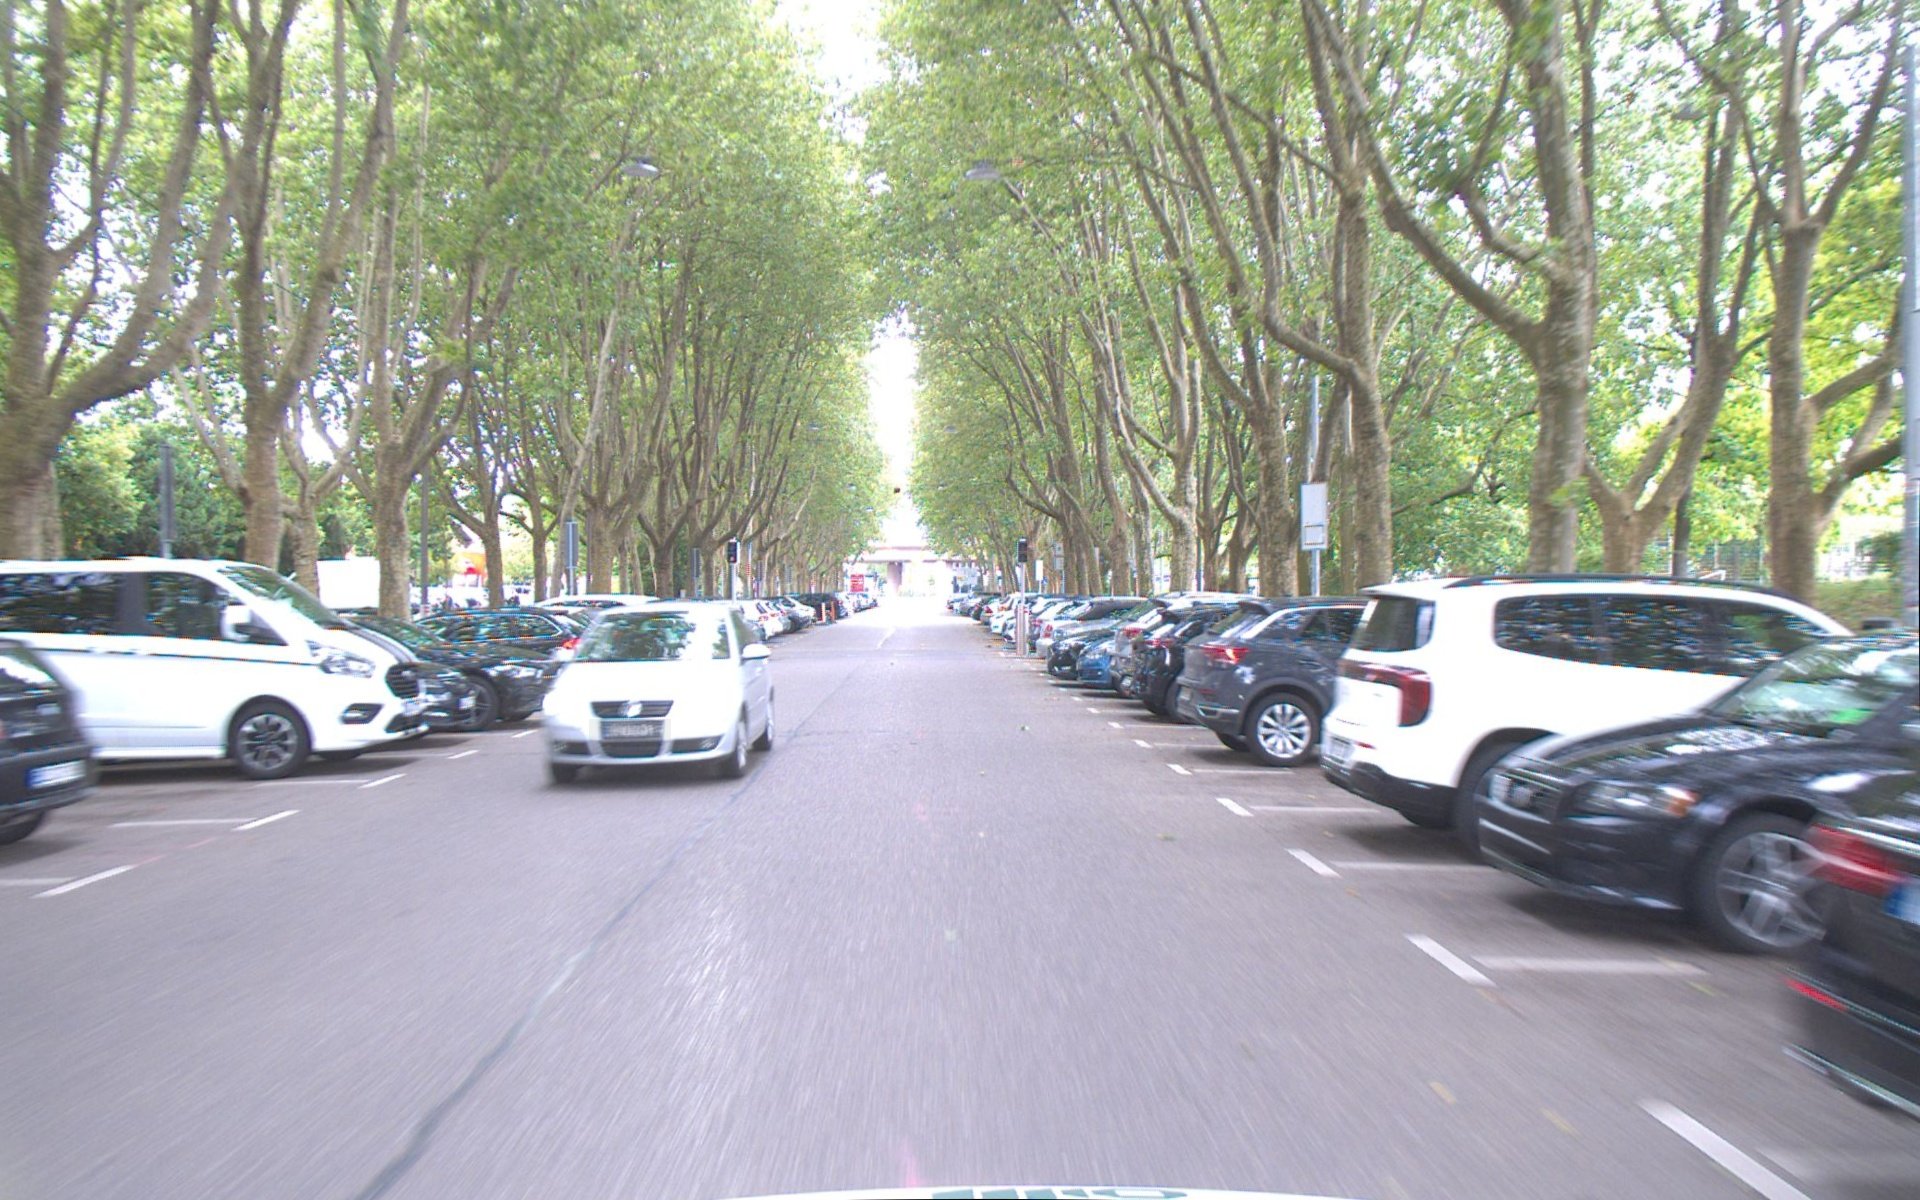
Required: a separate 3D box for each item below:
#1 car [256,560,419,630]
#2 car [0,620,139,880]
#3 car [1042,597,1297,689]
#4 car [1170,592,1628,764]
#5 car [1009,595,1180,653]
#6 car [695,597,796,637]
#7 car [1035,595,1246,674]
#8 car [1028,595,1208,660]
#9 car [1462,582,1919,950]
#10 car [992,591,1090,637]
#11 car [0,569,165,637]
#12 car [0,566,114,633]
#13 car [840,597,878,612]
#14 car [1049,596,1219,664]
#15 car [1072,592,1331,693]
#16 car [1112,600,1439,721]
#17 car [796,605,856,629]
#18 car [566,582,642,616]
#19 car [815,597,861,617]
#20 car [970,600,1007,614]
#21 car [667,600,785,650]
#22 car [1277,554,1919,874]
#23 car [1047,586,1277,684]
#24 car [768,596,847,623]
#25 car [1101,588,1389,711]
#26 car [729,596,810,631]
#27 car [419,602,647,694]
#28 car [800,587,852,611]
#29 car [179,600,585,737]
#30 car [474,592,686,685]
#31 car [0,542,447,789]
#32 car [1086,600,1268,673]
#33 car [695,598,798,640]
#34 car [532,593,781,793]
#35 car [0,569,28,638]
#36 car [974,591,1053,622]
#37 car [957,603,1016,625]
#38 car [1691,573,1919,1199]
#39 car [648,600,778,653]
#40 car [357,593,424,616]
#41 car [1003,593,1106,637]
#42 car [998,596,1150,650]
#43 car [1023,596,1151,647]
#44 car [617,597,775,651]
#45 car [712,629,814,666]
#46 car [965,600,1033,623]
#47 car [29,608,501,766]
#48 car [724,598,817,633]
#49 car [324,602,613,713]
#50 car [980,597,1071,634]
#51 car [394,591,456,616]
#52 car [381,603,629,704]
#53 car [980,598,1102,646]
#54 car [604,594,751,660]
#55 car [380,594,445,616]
[{"bbox_3d":[-24.663,-0.197,65.698,5.668,2.642,2.000,1,0,-1],"label":"car"},{"bbox_3d":[-7.405,0.949,10.058,3.908,1.438,1.682,-3,0,-4],"label":"car"},{"bbox_3d":[3.542,0.713,28.406,4.127,1.476,1.609,1,0,-3],"label":"car"},{"bbox_3d":[4.102,0.707,15.837,3.907,1.512,1.693,1,0,-3],"label":"car"},{"bbox_3d":[3.660,0.655,45.496,4.521,1.495,1.649,1,0,-2],"label":"car"},{"bbox_3d":[-8.709,0.687,67.486,3.942,1.455,1.693,-2,0,-5],"label":"car"},{"bbox_3d":[3.601,0.682,33.472,4.030,1.495,1.694,1,0,-2],"label":"car"},{"bbox_3d":[3.881,0.668,41.032,4.278,1.495,1.623,1,0,-2],"label":"car"},{"bbox_3d":[4.782,0.742,8.108,4.102,1.584,1.699,1,0,-3],"label":"car"},{"bbox_3d":[3.081,0.530,63.387,3.574,1.696,1.517,1,0,-5],"label":"car"},{"bbox_3d":[-34.949,0.120,65.484,5.880,2.571,1.999,1,0,-2],"label":"car"},{"bbox_3d":[-34.507,-0.055,60.602,5.880,2.370,1.999,1,0,-2],"label":"car"},{"bbox_3d":[-10.481,0.500,171.957,3.735,1.542,1.686,0,0,2],"label":"car"},{"bbox_3d":[3.973,0.680,38.195,3.699,1.495,1.666,1,0,-2],"label":"car"},{"bbox_3d":[3.725,0.646,25.892,3.750,1.481,1.693,1,0,-3],"label":"car"},{"bbox_3d":[3.910,0.737,20.870,3.750,1.413,1.693,1,0,-3],"label":"car"},{"bbox_3d":[-8.929,1.130,110.283,3.734,1.377,1.663,-2,0,4],"label":"car"},{"bbox_3d":[-24.742,-0.076,115.099,4.976,2.271,1.535,1,0,-3],"label":"car"},{"bbox_3d":[-10.530,0.595,142.687,3.734,1.542,1.687,-2,0,4],"label":"car"},{"bbox_3d":[3.333,0.796,191.958,4.287,1.549,1.731,1,0,-1],"label":"car"},{"bbox_3d":[-7.806,0.820,55.405,3.752,1.523,1.693,-2,0,-4],"label":"car"},{"bbox_3d":[4.342,0.670,10.401,4.297,1.786,1.800,1,0,-3],"label":"car"},{"bbox_3d":[3.707,0.634,30.794,4.030,1.699,1.694,1,0,-1],"label":"car"},{"bbox_3d":[-9.190,0.572,99.952,4.572,1.452,1.999,-2,0,-3],"label":"car"},{"bbox_3d":[3.999,0.678,23.544,3.750,1.635,1.693,1,0,-3],"label":"car"},{"bbox_3d":[-9.218,0.655,80.262,3.752,1.582,1.693,-2,0,-4],"label":"car"},{"bbox_3d":[-7.732,0.846,30.218,3.752,1.497,1.693,-2,0,-4],"label":"car"},{"bbox_3d":[-10.277,-0.067,126.868,3.734,1.630,1.787,-2,0,4],"label":"car"},{"bbox_3d":[-7.066,0.816,20.504,4.355,1.478,1.775,-2,0,3],"label":"car"},{"bbox_3d":[-7.419,0.737,32.606,3.752,1.656,1.951,-2,0,-4],"label":"car"},{"bbox_3d":[-7.504,0.592,15.427,4.795,2.054,1.919,-2,0,-2],"label":"car"},{"bbox_3d":[4.650,0.775,35.793,3.698,1.495,1.624,1,0,0],"label":"car"},{"bbox_3d":[-8.092,0.730,63.029,3.752,1.455,1.693,-2,0,-4],"label":"car"},{"bbox_3d":[-2.557,0.708,14.759,1.655,1.497,3.837,-2,0,-3],"label":"car"},{"bbox_3d":[-35.009,0.065,55.793,5.880,2.279,1.999,1,0,-2],"label":"car"},{"bbox_3d":[2.673,0.332,83.233,3.840,1.477,1.555,1,0,-3],"label":"car"},{"bbox_3d":[1.879,0.991,117.473,4.088,1.467,1.732,1,0,3],"label":"car"},{"bbox_3d":[4.240,0.759,3.774,4.412,1.552,1.702,1,0,-3],"label":"car"},{"bbox_3d":[-7.456,0.780,50.232,3.752,1.455,1.693,-2,0,-4],"label":"car"},{"bbox_3d":[-35.693,0.292,103.707,3.680,1.373,1.535,1,0,-3],"label":"car"},{"bbox_3d":[3.473,0.555,61.150,3.574,1.546,1.642,1,0,-5],"label":"car"},{"bbox_3d":[3.291,0.658,48.167,4.213,1.495,1.622,1,0,-5],"label":"car"},{"bbox_3d":[3.892,0.659,50.973,3.702,1.495,1.622,1,0,-5],"label":"car"},{"bbox_3d":[-7.568,0.673,47.706,4.314,1.388,1.693,-2,0,-5],"label":"car"},{"bbox_3d":[-8.602,2.071,72.575,4.315,1.455,1.693,-2,0,-5],"label":"car"},{"bbox_3d":[2.620,0.749,110.203,4.478,1.512,2.001,1,0,3],"label":"car"},{"bbox_3d":[-7.466,0.906,18.097,4.359,1.478,1.773,-2,0,-2],"label":"car"},{"bbox_3d":[-8.857,0.716,77.544,4.248,1.455,1.693,-2,0,-5],"label":"car"},{"bbox_3d":[-7.385,0.847,25.118,3.917,1.497,1.536,-2,0,-5],"label":"car"},{"bbox_3d":[2.685,0.644,68.570,3.574,1.449,1.983,1,0,-5],"label":"car"},{"bbox_3d":[-35.776,0.252,110.699,3.681,1.617,1.534,1,0,-4],"label":"car"},{"bbox_3d":[-7.635,0.873,28.045,3.681,1.500,1.863,-2,0,-3],"label":"car"},{"bbox_3d":[2.814,0.768,58.248,4.085,1.624,1.853,1,0,-5],"label":"car"},{"bbox_3d":[-7.648,0.712,45.025,3.752,1.636,1.693,-2,0,-4],"label":"car"},{"bbox_3d":[-35.486,0.329,107.230,3.681,1.373,1.534,1,0,-4],"label":"car"}]
